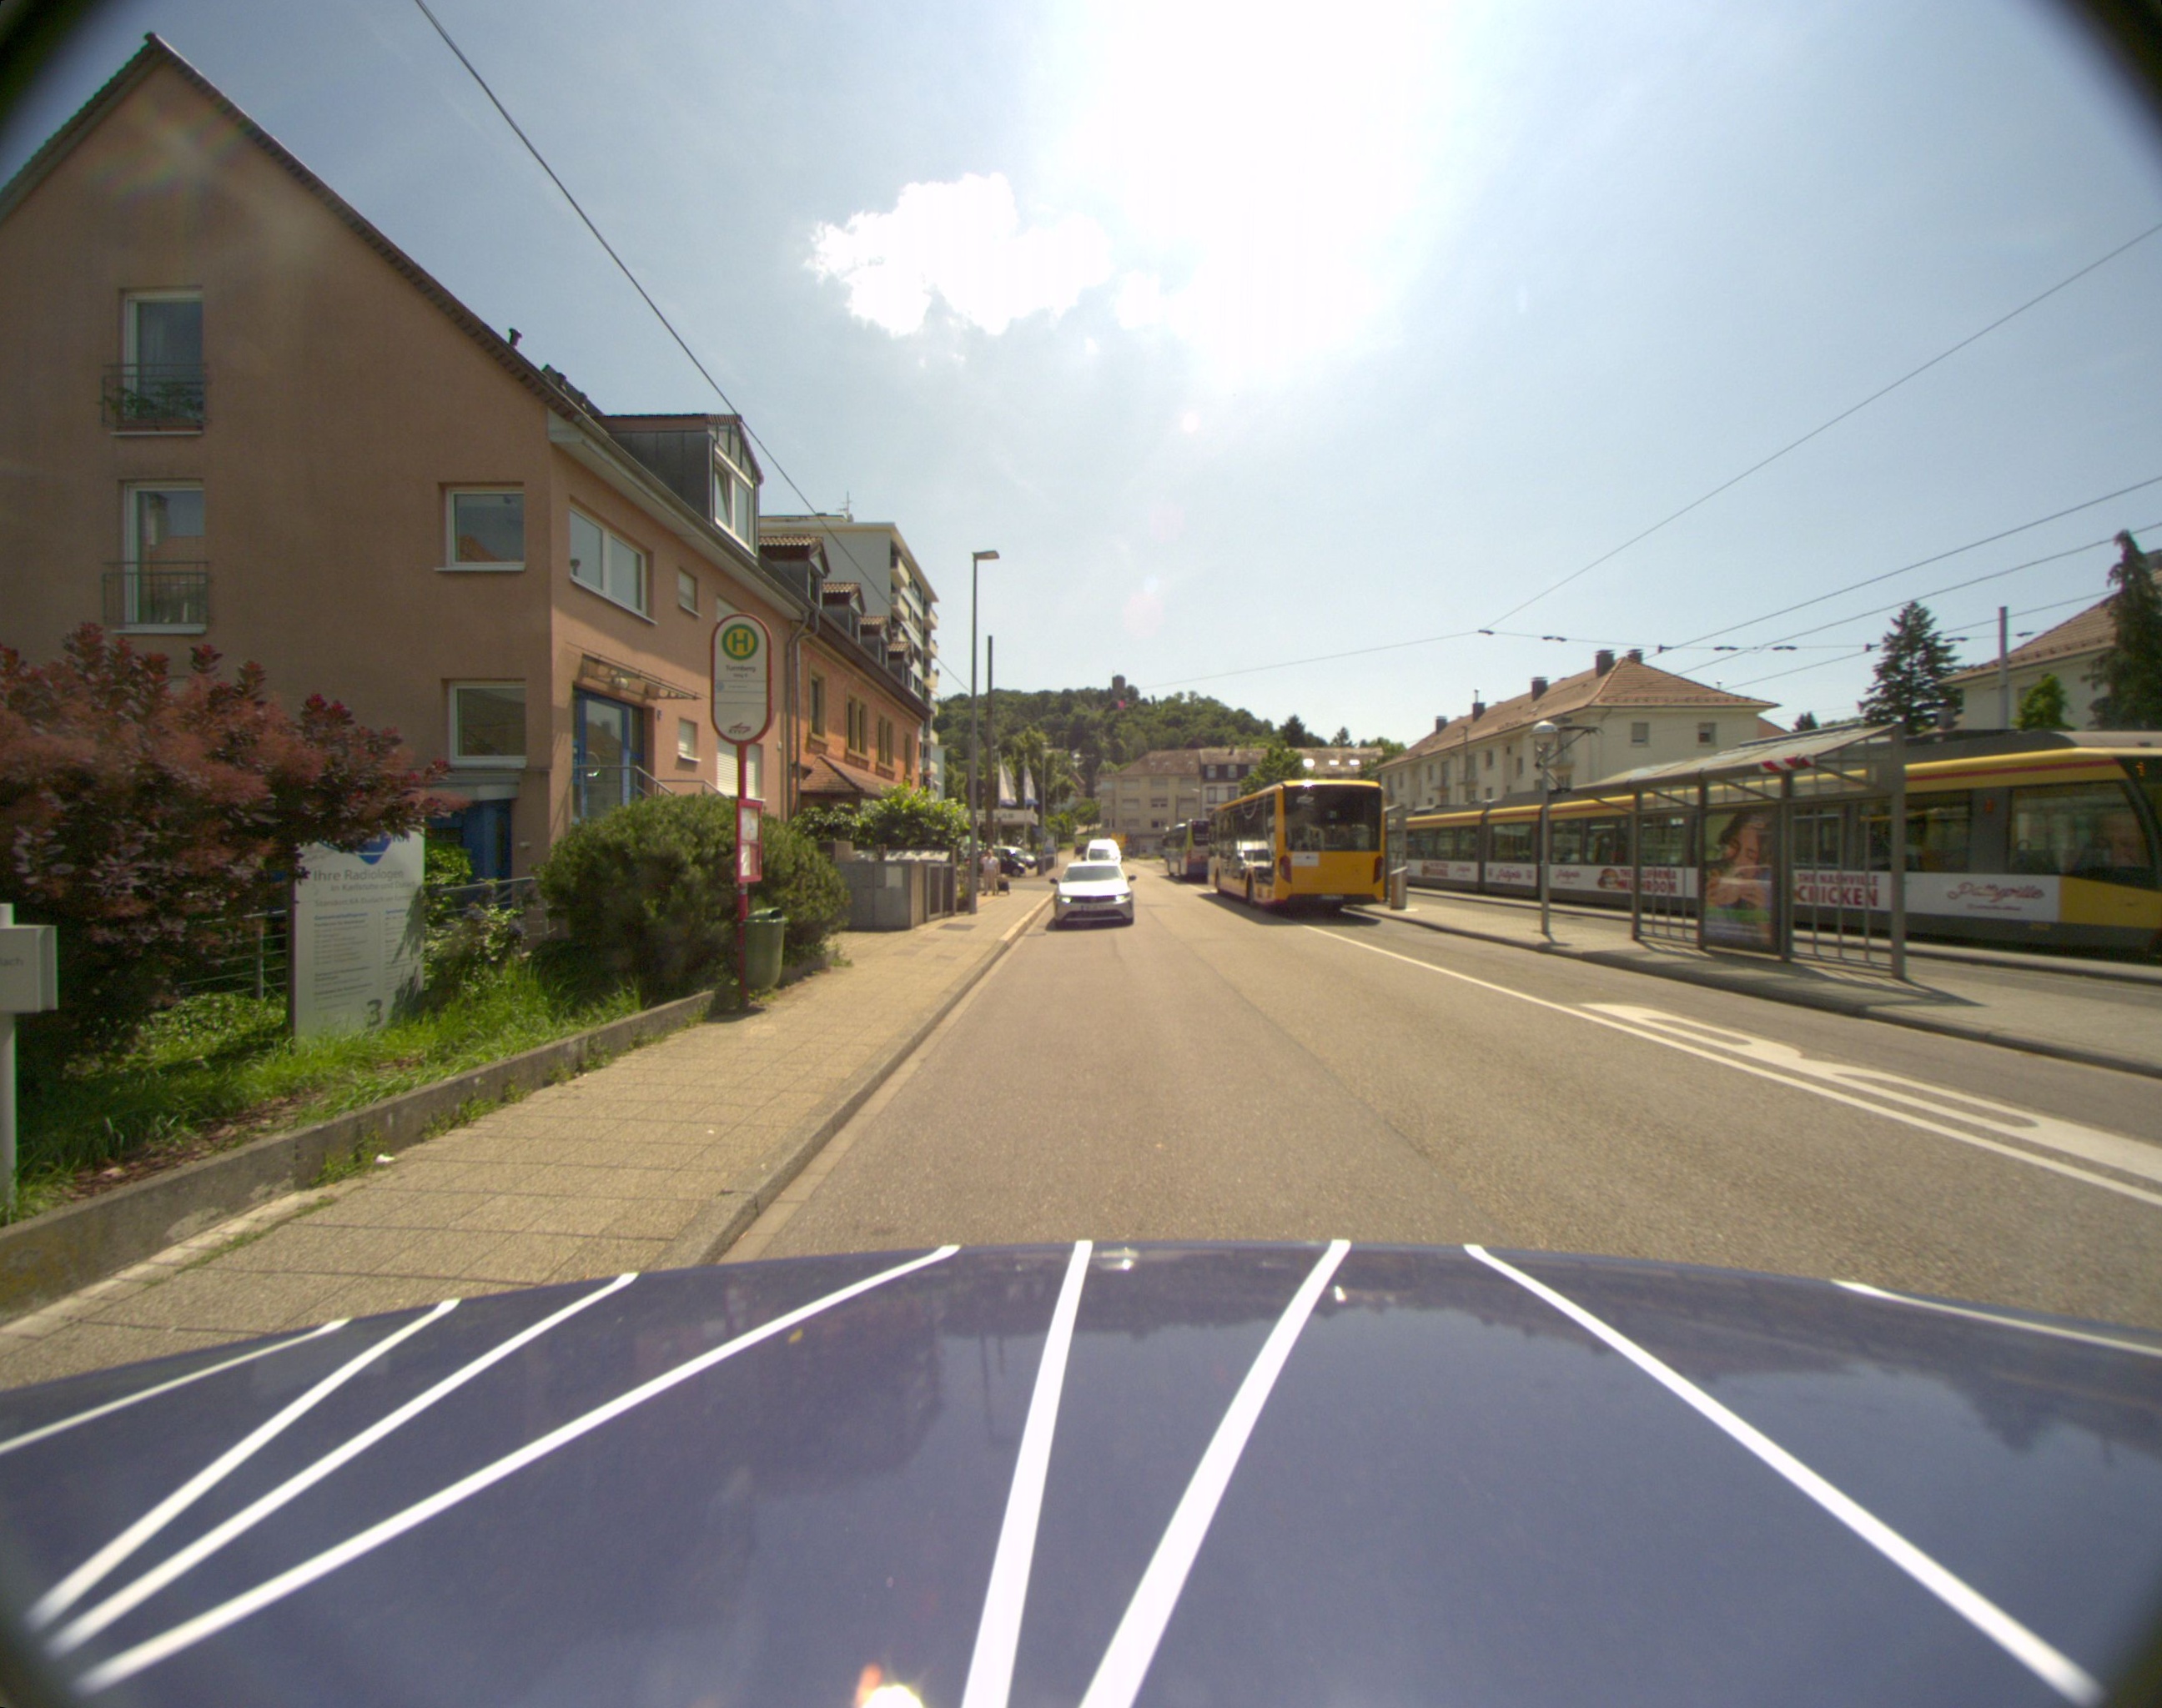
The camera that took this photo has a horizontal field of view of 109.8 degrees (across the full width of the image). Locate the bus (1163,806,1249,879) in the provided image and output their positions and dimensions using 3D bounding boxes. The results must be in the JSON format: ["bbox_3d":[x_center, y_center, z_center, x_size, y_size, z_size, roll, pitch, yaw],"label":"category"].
[{"bbox_3d":[6.710,-0.570,42.946,2.915,3.407,12.039,-2,0,1],"label":"bus"}]

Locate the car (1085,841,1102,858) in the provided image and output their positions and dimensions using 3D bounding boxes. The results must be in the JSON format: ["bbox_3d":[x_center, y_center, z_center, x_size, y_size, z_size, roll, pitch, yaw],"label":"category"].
[{"bbox_3d":[1.448,-0.564,91.790,1.708,1.840,4.710,-2,2,-2],"label":"car"}]

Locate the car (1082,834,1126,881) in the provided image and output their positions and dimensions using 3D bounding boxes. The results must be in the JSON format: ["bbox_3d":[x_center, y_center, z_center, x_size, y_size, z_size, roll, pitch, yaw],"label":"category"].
[{"bbox_3d":[1.179,0.098,41.290,1.999,2.259,5.442,-2,2,-2],"label":"car"}]

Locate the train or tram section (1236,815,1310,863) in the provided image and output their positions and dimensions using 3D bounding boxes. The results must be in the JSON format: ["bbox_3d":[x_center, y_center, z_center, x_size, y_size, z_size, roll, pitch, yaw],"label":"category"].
[{"bbox_3d":[15.546,-1.230,62.757,2.970,3.475,12.711,-2,1,1],"label":"train or tram section"}]

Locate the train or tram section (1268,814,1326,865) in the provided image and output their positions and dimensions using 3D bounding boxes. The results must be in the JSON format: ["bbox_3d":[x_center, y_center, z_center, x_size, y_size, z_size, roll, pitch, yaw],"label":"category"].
[{"bbox_3d":[15.349,-1.046,54.326,2.970,3.475,4.416,0,1,1],"label":"train or tram section"}]

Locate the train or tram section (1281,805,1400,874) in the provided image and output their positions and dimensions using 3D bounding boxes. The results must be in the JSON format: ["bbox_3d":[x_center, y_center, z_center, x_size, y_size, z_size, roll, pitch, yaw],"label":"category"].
[{"bbox_3d":[15.171,-0.865,45.918,2.970,3.475,12.655,-2,1,1],"label":"train or tram section"}]

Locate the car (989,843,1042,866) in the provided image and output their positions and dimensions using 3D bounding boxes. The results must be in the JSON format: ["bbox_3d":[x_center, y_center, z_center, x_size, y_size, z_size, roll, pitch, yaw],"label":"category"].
[{"bbox_3d":[-5.384,0.029,62.424,4.277,1.780,1.826,-1,3,40],"label":"car"}]

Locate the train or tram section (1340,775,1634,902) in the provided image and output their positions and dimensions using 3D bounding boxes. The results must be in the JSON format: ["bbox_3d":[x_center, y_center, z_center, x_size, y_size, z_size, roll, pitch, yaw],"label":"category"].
[{"bbox_3d":[14.941,-0.600,31.079,2.970,3.622,17.349,-2,1,1],"label":"train or tram section"}]

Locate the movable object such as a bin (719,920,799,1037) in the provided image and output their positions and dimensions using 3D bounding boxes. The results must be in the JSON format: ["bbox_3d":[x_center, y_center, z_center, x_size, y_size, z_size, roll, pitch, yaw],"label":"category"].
[{"bbox_3d":[-2.898,1.104,6.886,0.407,0.902,0.729,3,2,-2],"label":"movable object such as a bin"}]

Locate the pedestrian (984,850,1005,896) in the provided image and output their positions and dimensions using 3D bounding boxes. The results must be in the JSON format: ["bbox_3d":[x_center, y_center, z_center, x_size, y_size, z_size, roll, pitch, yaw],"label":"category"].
[{"bbox_3d":[-3.096,0.671,27.261,0.707,1.632,0.659,1,0,-8],"label":"pedestrian"}]

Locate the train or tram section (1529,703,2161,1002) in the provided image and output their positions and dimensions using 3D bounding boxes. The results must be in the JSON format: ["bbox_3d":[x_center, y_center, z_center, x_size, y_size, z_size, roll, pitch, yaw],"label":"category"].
[{"bbox_3d":[14.673,-0.178,15.488,2.970,3.622,13.992,-2,1,1],"label":"train or tram section"}]

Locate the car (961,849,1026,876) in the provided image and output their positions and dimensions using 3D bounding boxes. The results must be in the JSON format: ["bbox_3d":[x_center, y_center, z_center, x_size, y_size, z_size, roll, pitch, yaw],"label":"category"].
[{"bbox_3d":[-5.472,0.508,47.429,3.890,1.534,1.840,-1,2,-12],"label":"car"}]

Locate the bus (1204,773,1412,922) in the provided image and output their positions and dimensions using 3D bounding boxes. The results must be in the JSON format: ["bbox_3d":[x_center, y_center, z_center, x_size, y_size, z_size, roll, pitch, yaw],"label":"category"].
[{"bbox_3d":[6.084,-0.341,23.153,2.905,3.229,12.193,-2,2,2],"label":"bus"}]

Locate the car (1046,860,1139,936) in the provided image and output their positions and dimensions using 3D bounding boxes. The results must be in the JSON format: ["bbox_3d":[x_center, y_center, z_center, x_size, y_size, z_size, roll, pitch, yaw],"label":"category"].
[{"bbox_3d":[0.397,0.917,17.580,1.817,1.371,4.392,-1,1,5],"label":"car"}]
